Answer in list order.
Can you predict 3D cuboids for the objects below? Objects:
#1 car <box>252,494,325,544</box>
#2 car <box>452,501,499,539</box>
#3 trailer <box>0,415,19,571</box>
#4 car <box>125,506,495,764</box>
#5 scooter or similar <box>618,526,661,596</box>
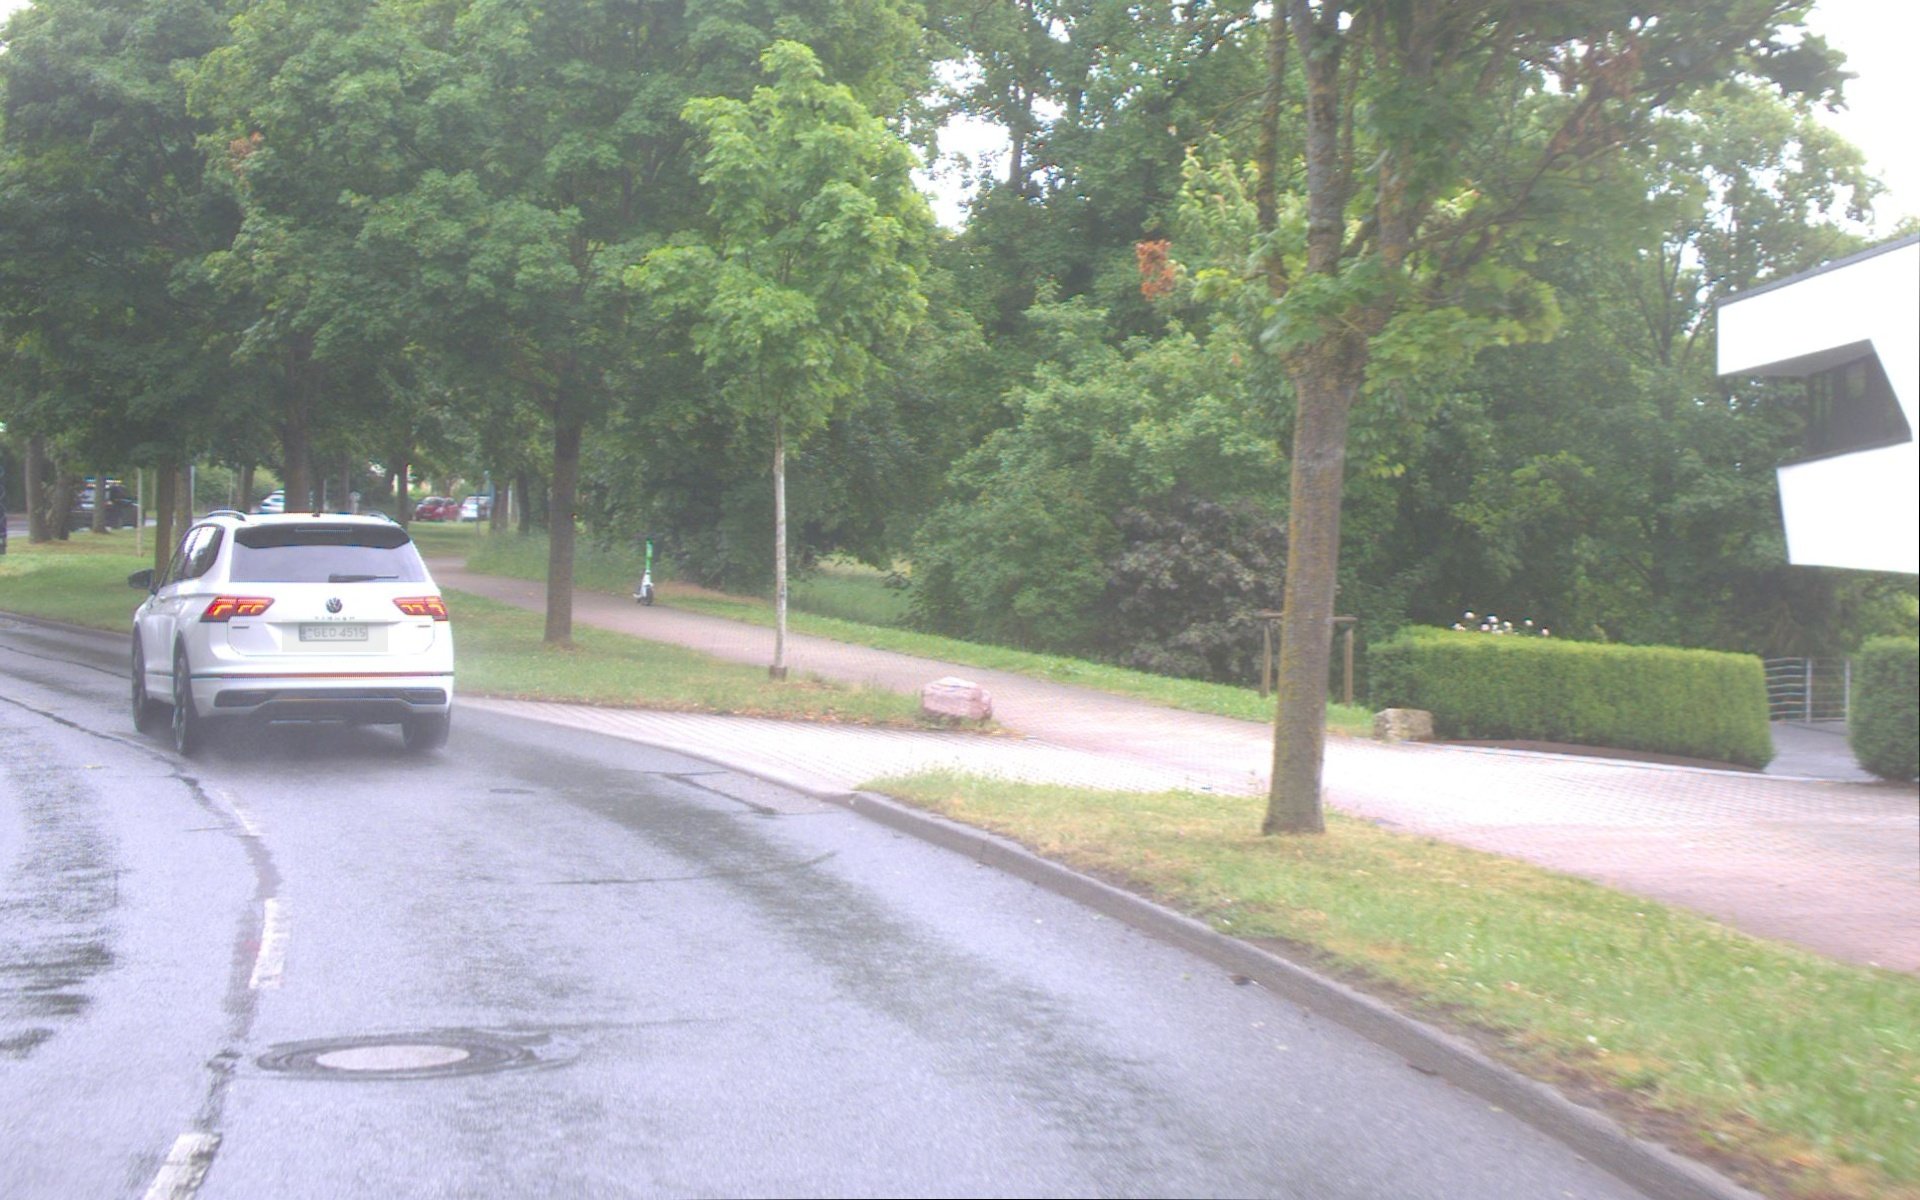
[{"bbox_3d":[-26.627,-3.200,136.486,1.993,1.798,4.000,3,0,0],"label":"car"},{"bbox_3d":[-25.058,-4.124,177.864,1.993,1.801,4.001,3,0,-4],"label":"car"},{"bbox_3d":[-19.031,-1.972,64.385,1.993,2.798,5.610,-4,4,-21],"label":"trailer"},{"bbox_3d":[-4.757,0.184,24.686,1.973,1.647,4.178,-2,1,-19],"label":"car"},{"bbox_3d":[-5.379,-0.660,57.615,0.463,1.142,1.301,0,2,-17],"label":"scooter or similar"}]
